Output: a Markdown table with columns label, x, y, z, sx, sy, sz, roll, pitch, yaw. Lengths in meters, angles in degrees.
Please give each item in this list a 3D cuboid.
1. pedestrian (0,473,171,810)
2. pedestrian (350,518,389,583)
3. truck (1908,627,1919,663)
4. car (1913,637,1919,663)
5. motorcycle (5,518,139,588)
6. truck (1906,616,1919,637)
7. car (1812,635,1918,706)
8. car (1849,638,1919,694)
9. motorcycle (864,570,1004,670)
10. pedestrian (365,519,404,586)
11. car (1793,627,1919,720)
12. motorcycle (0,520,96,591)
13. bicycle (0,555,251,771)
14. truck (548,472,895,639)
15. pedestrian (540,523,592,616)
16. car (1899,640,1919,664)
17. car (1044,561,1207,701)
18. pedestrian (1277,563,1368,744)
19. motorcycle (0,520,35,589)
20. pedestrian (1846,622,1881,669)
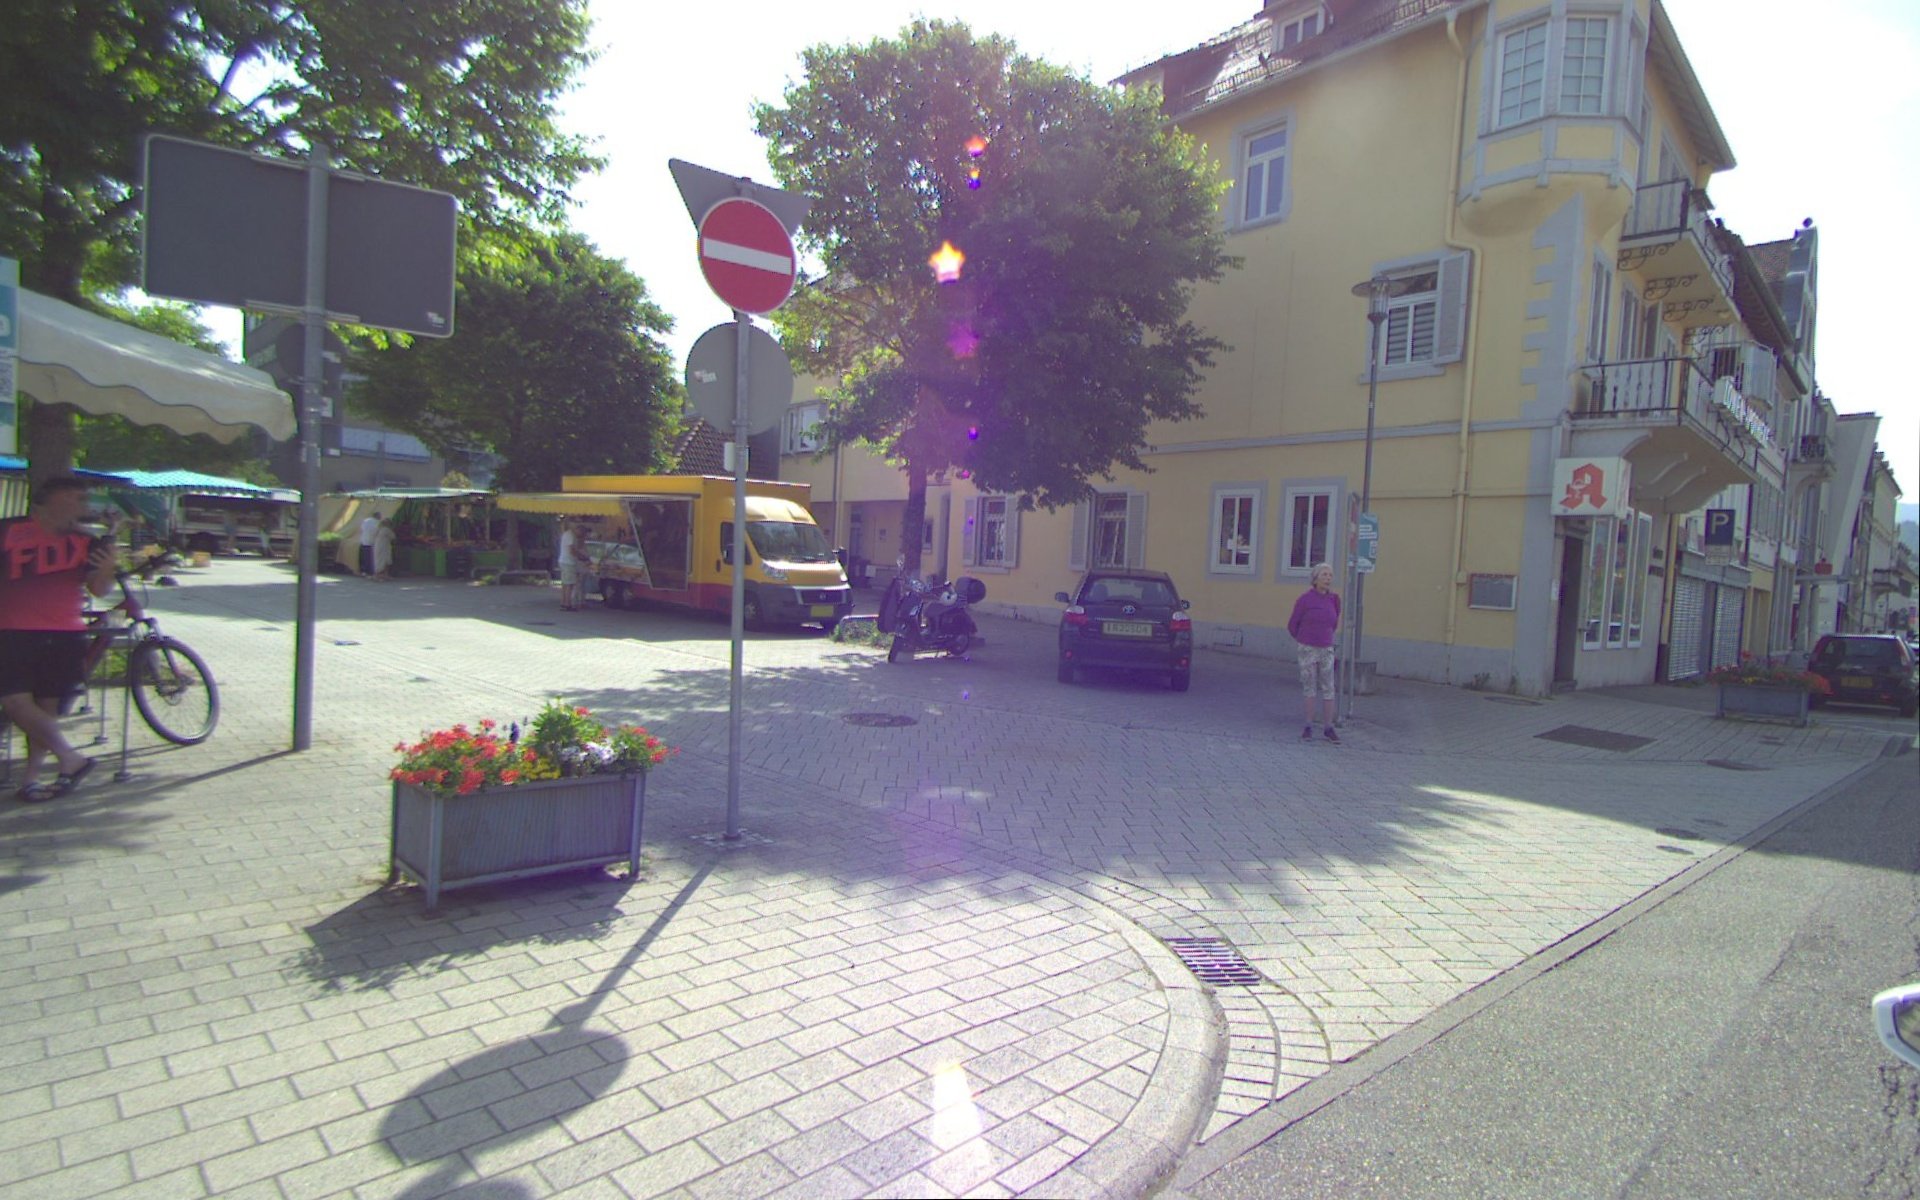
| label | x | y | z | sx | sy | sz | roll | pitch | yaw |
| --- | --- | --- | --- | --- | --- | --- | --- | --- | --- |
| pedestrian | -4.855 | 0.203 | 5.333 | 0.564 | 1.680 | 0.879 | 5 | 1 | 42 |
| pedestrian | -15.718 | -1.307 | 26.729 | 0.572 | 1.704 | 0.680 | 3 | 3 | 29 |
| truck | 68.417 | 3.206 | 71.140 | 1.729 | 2.501 | 4.633 | 3 | 1 | 44 |
| car | 57.405 | 2.971 | 59.216 | 1.729 | 1.467 | 3.256 | 3 | 1 | 44 |
| motorcycle | -17.785 | -0.933 | 20.147 | 1.967 | 1.211 | 0.643 | 5 | 0 | -3 |
| truck | 158.658 | 4.517 | 161.906 | 9.022 | 3.308 | 3.081 | 3 | 1 | 3 |
| car | 21.812 | 1.641 | 24.178 | 1.729 | 1.467 | 3.256 | 3 | 1 | 44 |
| car | 27.737 | 1.927 | 29.876 | 1.729 | 1.467 | 3.772 | 3 | 1 | 44 |
| motorcycle | -0.370 | 0.245 | 15.107 | 0.876 | 1.379 | 2.074 | 4 | 4 | 44 |
| pedestrian | -15.093 | -1.235 | 26.325 | 0.572 | 1.704 | 0.680 | 5 | 4 | 29 |
| car | 18.039 | 1.390 | 20.076 | 1.827 | 1.589 | 3.546 | 3 | 1 | 44 |
| motorcycle | -17.758 | -0.868 | 19.001 | 1.983 | 1.211 | 0.638 | 5 | 0 | -31 |
| bicycle | -5.654 | 0.360 | 6.313 | 0.607 | 1.251 | 1.857 | 4 | 2 | 33 |
| truck | -5.370 | -1.046 | 21.013 | 2.990 | 2.795 | 8.744 | 0 | 4 | -44 |
| pedestrian | -7.902 | -0.624 | 20.141 | 0.714 | 1.811 | 0.680 | 4 | 4 | 32 |
| car | 52.565 | 2.844 | 55.044 | 1.547 | 1.236 | 3.256 | 3 | 1 | 44 |
| car | 2.413 | 0.290 | 14.220 | 1.884 | 1.564 | 3.960 | 4 | 3 | 12 |
| pedestrian | 3.638 | 0.514 | 10.127 | 0.666 | 1.738 | 0.617 | 3 | 2 | 9 |
| motorcycle | -17.947 | -0.888 | 17.911 | 1.983 | 1.211 | 0.638 | 5 | 1 | -31 |
| pedestrian | 34.119 | 1.724 | 37.936 | 0.649 | 1.719 | 0.688 | 2 | 1 | -17 |
